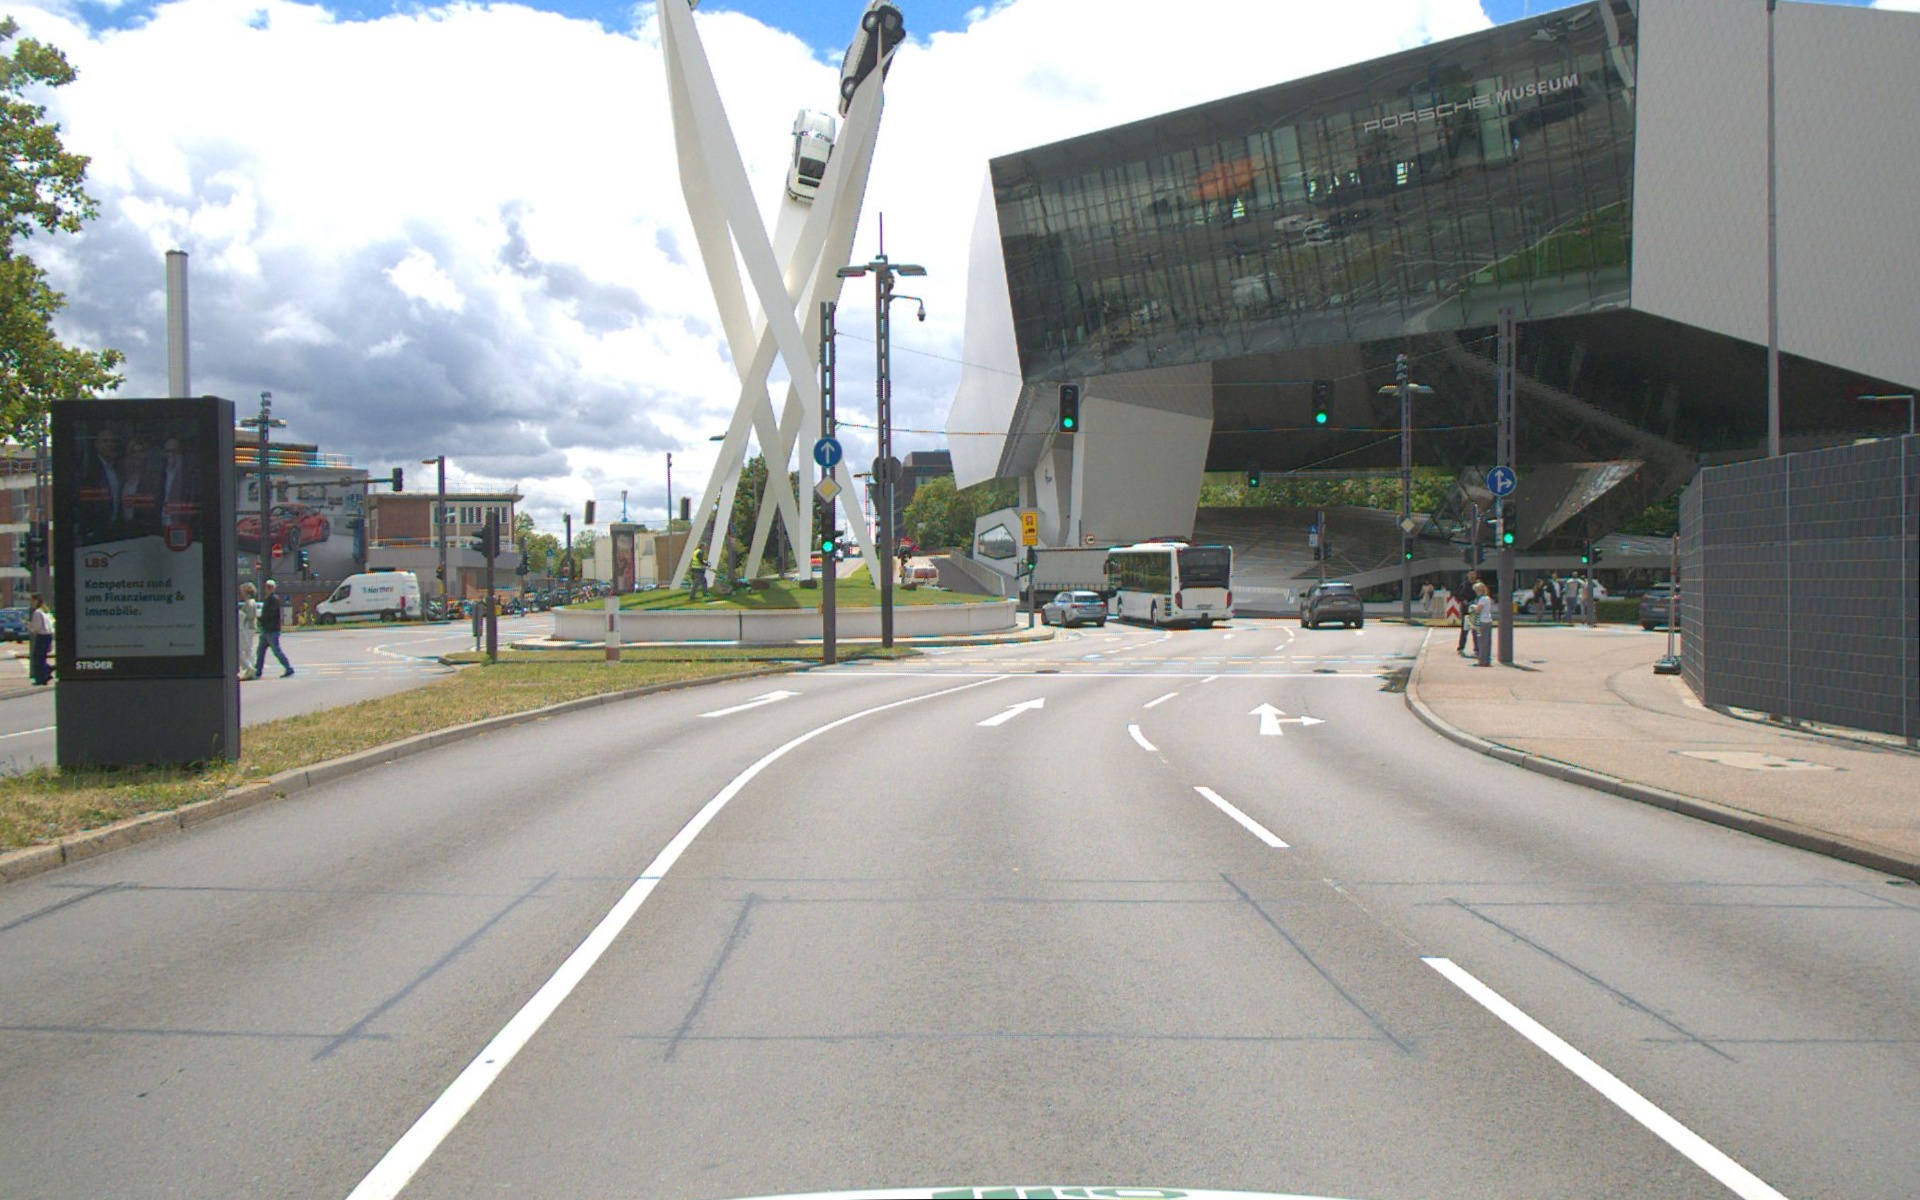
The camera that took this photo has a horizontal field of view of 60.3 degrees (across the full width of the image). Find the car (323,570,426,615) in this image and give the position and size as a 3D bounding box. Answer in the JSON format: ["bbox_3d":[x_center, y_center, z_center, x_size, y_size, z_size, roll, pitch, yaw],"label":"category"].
[{"bbox_3d":[-29.881,-0.367,84.484,4.541,2.209,2.001,0,-1,7],"label":"car"}]

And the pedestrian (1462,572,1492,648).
[{"bbox_3d":[11.218,0.219,35.892,0.454,1.644,0.663,0,-1,1],"label":"pedestrian"}]

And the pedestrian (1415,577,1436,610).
[{"bbox_3d":[21.392,-0.301,75.991,0.576,1.522,0.762,1,-1,-34],"label":"pedestrian"}]

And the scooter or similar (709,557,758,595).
[{"bbox_3d":[-7.152,-0.758,52.222,1.381,1.043,0.547,-5,6,-21],"label":"scooter or similar"}]

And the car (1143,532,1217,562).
[{"bbox_3d":[14.262,-3.450,107.459,4.440,1.418,1.987,9,11,44],"label":"car"}]

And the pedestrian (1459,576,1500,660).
[{"bbox_3d":[10.338,0.355,32.925,0.645,1.636,0.823,0,-1,9],"label":"pedestrian"}]

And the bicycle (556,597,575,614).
[{"bbox_3d":[-23.585,0.323,98.921,0.480,0.881,1.613,-1,3,9],"label":"bicycle"}]

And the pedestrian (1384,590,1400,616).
[{"bbox_3d":[26.188,0.179,100.286,0.811,1.600,0.923,0,-1,25],"label":"pedestrian"}]

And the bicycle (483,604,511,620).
[{"bbox_3d":[-27.283,0.685,97.548,0.483,0.881,1.603,0,2,39],"label":"bicycle"}]

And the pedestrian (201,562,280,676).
[{"bbox_3d":[-13.497,0.350,31.039,0.932,2.091,0.951,0,-1,17],"label":"pedestrian"}]

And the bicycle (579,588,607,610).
[{"bbox_3d":[-22.563,-0.054,101.737,1.573,1.339,0.492,0,-1,-3],"label":"bicycle"}]

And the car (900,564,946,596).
[{"bbox_3d":[-2.318,-1.227,102.944,1.960,1.937,3.984,1,-1,-15],"label":"car"}]

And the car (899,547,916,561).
[{"bbox_3d":[-6.608,-5.749,207.877,1.953,1.664,4.656,0,2,0],"label":"car"}]

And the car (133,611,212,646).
[{"bbox_3d":[-37.000,1.330,77.690,3.927,1.604,1.989,0,-1,41],"label":"car"}]

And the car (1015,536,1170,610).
[{"bbox_3d":[6.717,-1.306,85.572,3.301,3.565,9.244,1,-1,-31],"label":"car"}]

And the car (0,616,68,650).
[{"bbox_3d":[-45.601,1.592,81.182,4.147,1.583,1.815,0,-1,41],"label":"car"}]

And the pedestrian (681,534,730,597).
[{"bbox_3d":[-8.010,-1.102,51.976,1.262,1.847,0.982,-5,4,-18],"label":"pedestrian"}]

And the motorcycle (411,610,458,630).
[{"bbox_3d":[-33.431,1.257,105.214,2.843,1.217,0.920,0,-1,20],"label":"motorcycle"}]

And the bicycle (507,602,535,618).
[{"bbox_3d":[-25.188,0.566,94.912,0.483,0.881,1.604,0,2,38],"label":"bicycle"}]

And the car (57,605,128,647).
[{"bbox_3d":[-39.536,1.172,75.355,1.897,1.828,3.714,1,-1,-44],"label":"car"}]

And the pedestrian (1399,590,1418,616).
[{"bbox_3d":[27.079,0.182,99.858,0.903,1.600,0.829,0,-1,29],"label":"pedestrian"}]

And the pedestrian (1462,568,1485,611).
[{"bbox_3d":[24.242,-0.500,78.090,0.933,2.019,1.382,0,2,14],"label":"pedestrian"}]

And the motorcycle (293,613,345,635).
[{"bbox_3d":[-37.537,1.398,96.795,2.842,1.217,0.921,0,-1,16],"label":"motorcycle"}]

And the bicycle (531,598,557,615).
[{"bbox_3d":[-24.264,0.351,96.501,0.481,0.881,1.610,0,4,26],"label":"bicycle"}]

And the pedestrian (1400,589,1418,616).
[{"bbox_3d":[26.797,0.167,98.693,0.902,1.600,0.830,0,-1,24],"label":"pedestrian"}]

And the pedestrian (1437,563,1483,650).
[{"bbox_3d":[11.057,0.137,36.610,0.649,1.899,0.790,1,-1,-16],"label":"pedestrian"}]

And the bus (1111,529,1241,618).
[{"bbox_3d":[8.994,-0.969,70.525,3.011,3.421,12.210,1,-1,-5],"label":"bus"}]

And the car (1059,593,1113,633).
[{"bbox_3d":[5.334,0.563,70.498,1.953,1.665,3.999,0,-1,-1],"label":"car"}]

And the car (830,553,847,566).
[{"bbox_3d":[-14.628,-4.899,199.112,1.719,1.422,4.674,1,3,-1],"label":"car"}]

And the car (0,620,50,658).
[{"bbox_3d":[-41.079,1.673,71.731,3.891,1.583,1.791,0,-1,44],"label":"car"}]

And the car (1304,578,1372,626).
[{"bbox_3d":[13.626,0.047,59.792,1.951,1.665,4.003,0,0,7],"label":"car"}]

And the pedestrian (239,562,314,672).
[{"bbox_3d":[-13.230,0.335,32.036,0.932,2.091,0.951,0,-1,17],"label":"pedestrian"}]

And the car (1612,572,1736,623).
[{"bbox_3d":[25.444,-0.058,58.936,3.937,1.732,1.984,1,-1,-26],"label":"car"}]

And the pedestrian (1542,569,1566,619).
[{"bbox_3d":[22.021,-0.223,61.319,0.662,1.826,0.616,0,-1,45],"label":"pedestrian"}]

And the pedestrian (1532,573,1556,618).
[{"bbox_3d":[21.487,-0.160,60.870,0.668,1.667,0.610,1,-1,-44],"label":"pedestrian"}]

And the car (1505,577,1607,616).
[{"bbox_3d":[26.563,-0.157,73.812,3.903,1.577,1.839,-2,-1,4],"label":"car"}]

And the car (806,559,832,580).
[{"bbox_3d":[-14.473,-3.147,170.186,1.952,2.018,4.839,-1,1,2],"label":"car"}]

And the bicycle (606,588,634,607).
[{"bbox_3d":[-22.760,-0.168,110.718,1.703,1.202,0.669,0,1,-3],"label":"bicycle"}]

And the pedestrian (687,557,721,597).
[{"bbox_3d":[-9.896,-0.896,63.993,0.835,1.431,0.965,-7,-3,20],"label":"pedestrian"}]

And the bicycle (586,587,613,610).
[{"bbox_3d":[-22.528,-0.072,103.366,1.573,1.407,0.492,0,-1,-3],"label":"bicycle"}]

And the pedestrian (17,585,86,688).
[{"bbox_3d":[-16.321,0.651,29.737,0.849,1.805,1.031,1,-1,-16],"label":"pedestrian"}]

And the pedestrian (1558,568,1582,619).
[{"bbox_3d":[22.742,-0.246,61.642,0.661,1.879,0.616,0,-1,43],"label":"pedestrian"}]

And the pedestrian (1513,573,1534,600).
[{"bbox_3d":[33.274,-0.803,97.698,0.813,1.600,0.921,1,-1,-11],"label":"pedestrian"}]
